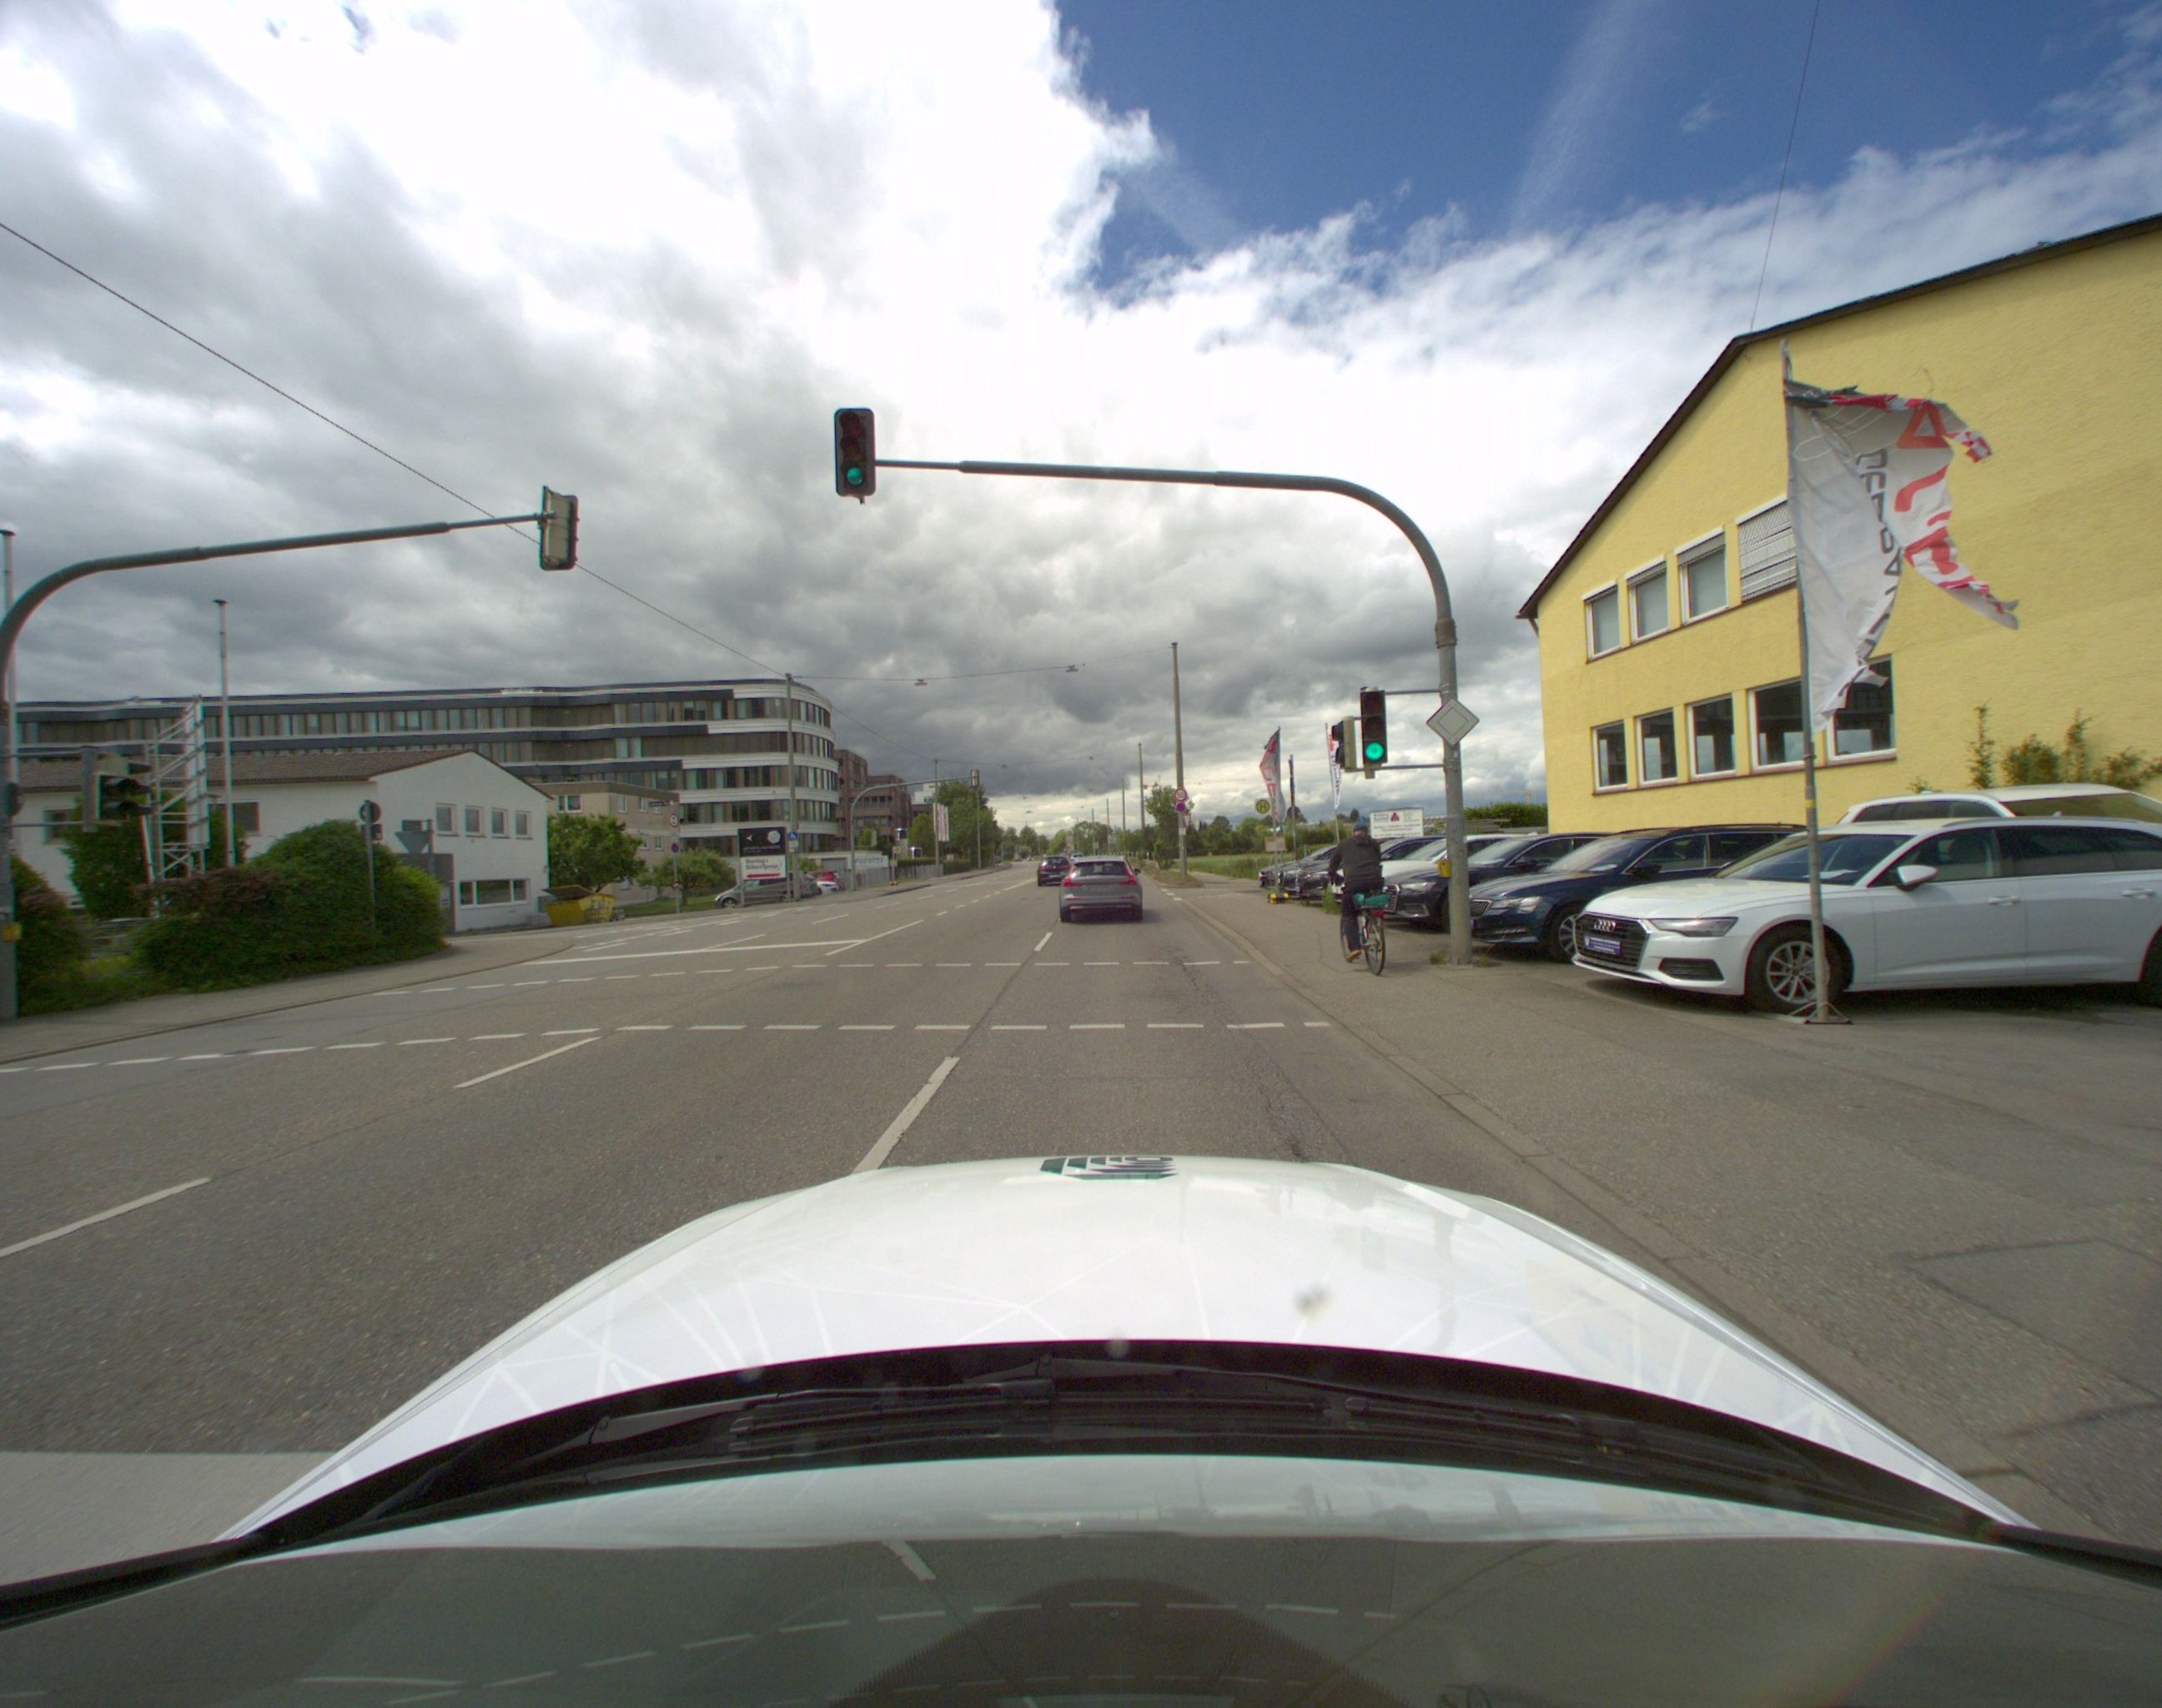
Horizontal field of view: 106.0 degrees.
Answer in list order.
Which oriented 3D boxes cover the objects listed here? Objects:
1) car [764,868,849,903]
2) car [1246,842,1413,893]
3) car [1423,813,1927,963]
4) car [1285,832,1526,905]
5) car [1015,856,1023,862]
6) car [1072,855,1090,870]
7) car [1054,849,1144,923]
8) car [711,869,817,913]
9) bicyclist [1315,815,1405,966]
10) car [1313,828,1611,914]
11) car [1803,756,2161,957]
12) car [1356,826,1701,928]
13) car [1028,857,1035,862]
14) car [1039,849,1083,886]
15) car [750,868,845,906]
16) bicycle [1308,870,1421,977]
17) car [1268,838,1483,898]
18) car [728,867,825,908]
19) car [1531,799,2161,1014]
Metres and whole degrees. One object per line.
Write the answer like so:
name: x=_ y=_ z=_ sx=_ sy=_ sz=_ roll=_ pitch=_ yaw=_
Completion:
car: x=-15.428 y=1.779 z=45.943 sx=3.976 sy=1.369 sz=1.847 roll=-8 pitch=-1 yaw=-1
car: x=7.217 y=0.415 z=23.982 sx=4.308 sy=1.398 sz=2.003 roll=-1 pitch=-2 yaw=-1
car: x=6.920 y=0.368 z=9.929 sx=4.642 sy=1.493 sz=2.035 roll=-2 pitch=0 yaw=1
car: x=7.157 y=0.304 z=18.383 sx=4.658 sy=1.493 sz=2.016 roll=-1 pitch=0 yaw=2
car: x=-18.141 y=1.604 z=237.758 sx=1.876 sy=1.717 sz=3.999 roll=-1 pitch=-1 yaw=0
car: x=-0.013 y=1.027 z=94.269 sx=1.987 sy=1.695 sz=4.000 roll=-1 pitch=-1 yaw=1
car: x=0.476 y=0.715 z=19.299 sx=1.888 sy=1.554 sz=4.002 roll=-1 pitch=-1 yaw=3
car: x=-14.822 y=1.715 z=38.273 sx=4.089 sy=1.397 sz=1.904 roll=-8 pitch=1 yaw=-6
bicyclist: x=3.313 y=0.416 z=9.749 sx=0.635 sy=1.675 sz=0.890 roll=-6 pitch=0 yaw=1
car: x=7.098 y=0.312 z=15.606 sx=4.781 sy=1.480 sz=2.033 roll=-1 pitch=0 yaw=2
car: x=11.215 y=-0.004 z=9.402 sx=1.963 sy=1.821 sz=5.046 roll=-3 pitch=-1 yaw=11
car: x=6.840 y=0.325 z=12.814 sx=4.355 sy=1.404 sz=1.988 roll=-1 pitch=0 yaw=-1
car: x=-14.447 y=1.674 z=237.621 sx=1.876 sy=1.520 sz=3.999 roll=-1 pitch=-1 yaw=0
car: x=-0.931 y=0.654 z=39.438 sx=1.988 sy=1.717 sz=3.998 roll=-1 pitch=-1 yaw=-1
car: x=-14.980 y=1.724 z=43.242 sx=4.217 sy=1.387 sz=1.981 roll=-8 pitch=-1 yaw=-5
bicycle: x=3.362 y=0.775 z=9.868 sx=0.635 sy=1.063 sz=1.978 roll=-6 pitch=0 yaw=2
car: x=7.447 y=0.351 z=21.010 sx=4.834 sy=1.430 sz=2.039 roll=-1 pitch=0 yaw=1
car: x=-15.217 y=1.661 z=40.815 sx=3.976 sy=1.424 sz=1.854 roll=-8 pitch=-1 yaw=-1
car: x=6.815 y=0.366 z=7.074 sx=4.680 sy=1.493 sz=2.046 roll=-2 pitch=0 yaw=0
